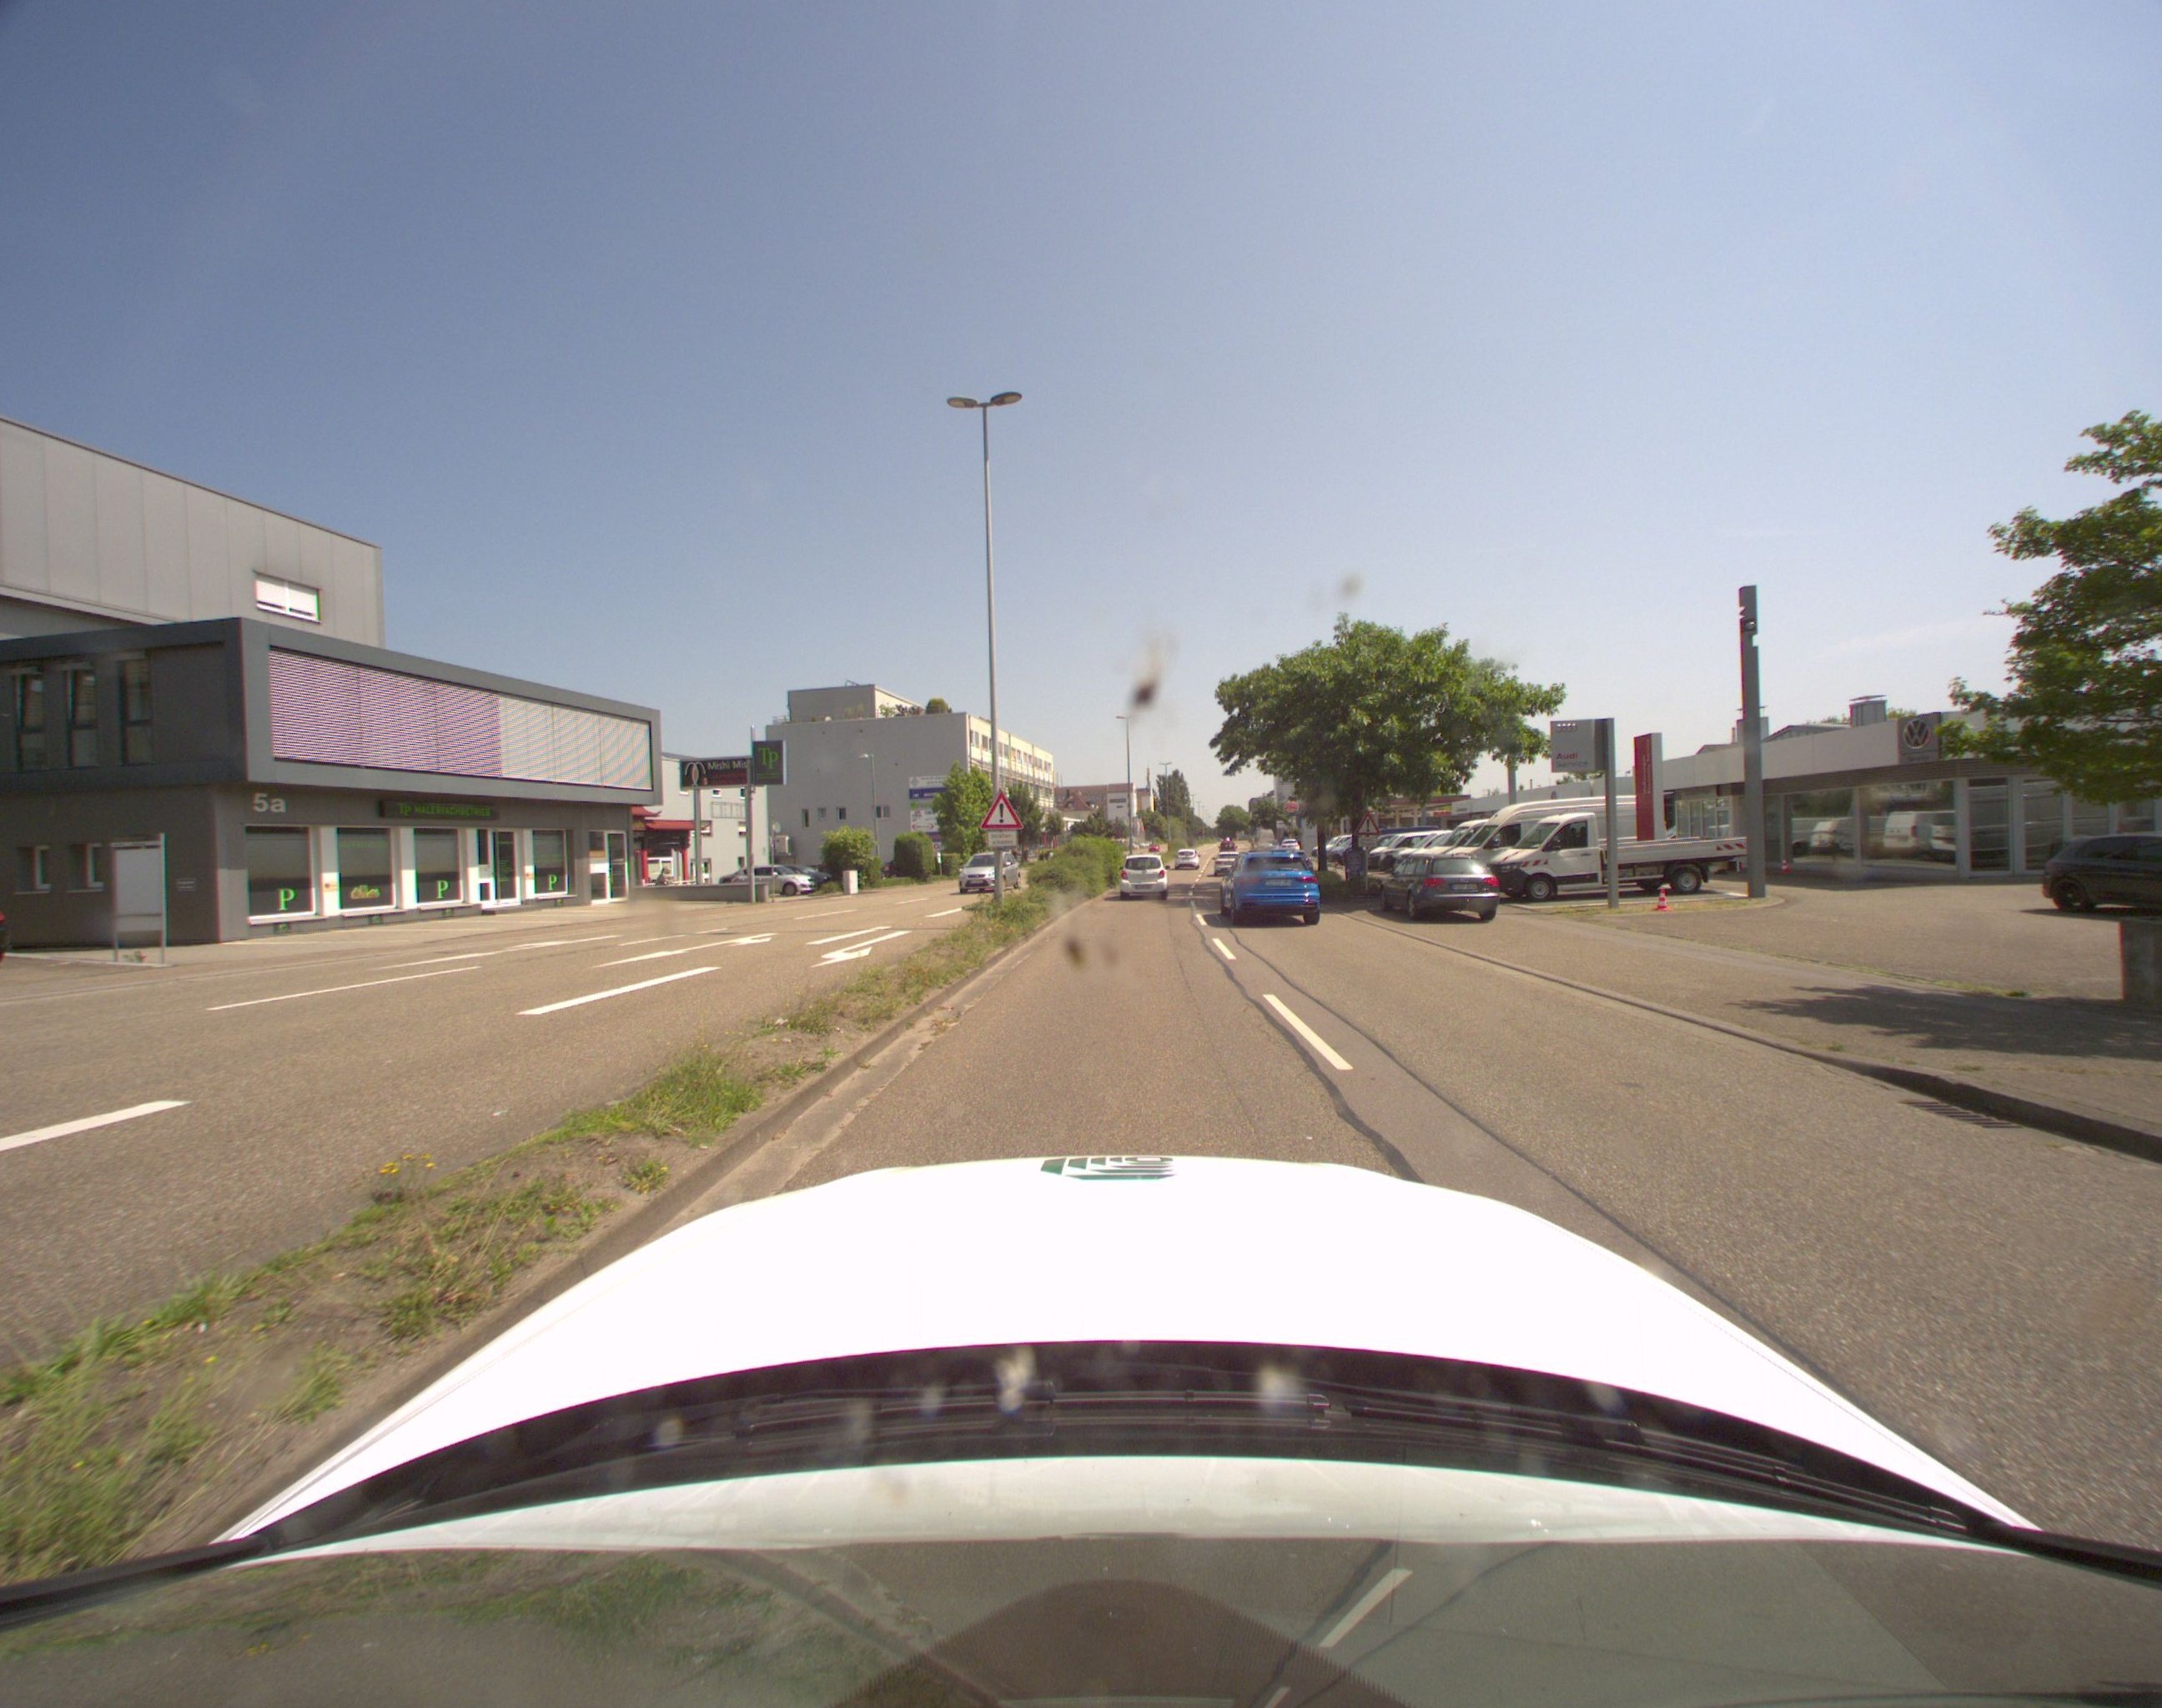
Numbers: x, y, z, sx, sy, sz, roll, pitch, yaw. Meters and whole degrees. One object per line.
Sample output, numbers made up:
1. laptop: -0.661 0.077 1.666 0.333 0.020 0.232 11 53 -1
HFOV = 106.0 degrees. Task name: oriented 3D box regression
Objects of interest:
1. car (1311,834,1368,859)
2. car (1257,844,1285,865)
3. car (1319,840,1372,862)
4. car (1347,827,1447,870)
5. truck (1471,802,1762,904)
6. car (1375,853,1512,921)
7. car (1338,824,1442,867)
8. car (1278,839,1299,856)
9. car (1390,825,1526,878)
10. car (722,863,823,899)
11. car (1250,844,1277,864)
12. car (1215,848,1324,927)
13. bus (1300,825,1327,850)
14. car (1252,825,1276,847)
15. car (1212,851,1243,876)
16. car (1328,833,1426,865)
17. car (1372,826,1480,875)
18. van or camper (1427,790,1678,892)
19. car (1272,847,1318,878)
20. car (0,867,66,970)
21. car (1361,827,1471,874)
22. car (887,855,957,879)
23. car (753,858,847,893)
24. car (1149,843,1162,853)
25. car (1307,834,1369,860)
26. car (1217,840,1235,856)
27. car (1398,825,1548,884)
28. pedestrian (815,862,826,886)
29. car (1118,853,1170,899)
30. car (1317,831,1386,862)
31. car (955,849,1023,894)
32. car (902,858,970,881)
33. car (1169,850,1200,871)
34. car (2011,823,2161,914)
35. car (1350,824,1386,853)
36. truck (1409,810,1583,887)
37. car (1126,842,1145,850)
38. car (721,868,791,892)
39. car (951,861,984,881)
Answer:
1. car: 21.072 -0.575 66.549 4.126 1.781 1.886 -3 -2 8
2. car: 15.166 0.041 65.217 1.704 1.548 4.801 -3 0 8
3. car: 19.373 -0.224 59.678 3.603 1.570 1.723 -1 0 15
4. car: 17.870 -0.305 46.259 4.871 2.114 2.134 -4 1 8
5. truck: 14.411 -0.030 22.389 6.206 2.336 2.376 -3 1 10
6. car: 8.265 0.681 18.993 1.787 1.406 4.330 -1 0 8
7. car: 19.338 -0.487 51.227 5.804 2.524 2.212 -1 -1 12
8. car: 21.203 -0.692 83.418 1.657 1.596 4.626 -3 1 10
9. car: 16.176 -0.113 35.199 4.883 1.971 2.148 -3 0 9
10. car: -14.153 1.235 37.449 3.968 1.459 1.577 -2 -1 4
11. car: 15.778 -0.020 70.535 1.724 1.552 4.186 -1 1 5
12. car: 4.214 0.680 18.875 1.903 1.597 4.402 0 0 6
13. bus: 30.978 -2.346 108.765 2.785 3.078 12.332 -1 2 13
14. car: 25.764 -2.493 114.805 2.122 2.839 7.322 -7 0 6
15. car: 8.636 0.535 48.139 1.657 1.399 3.803 -1 -1 9
16. car: 19.563 -0.303 54.161 5.855 2.013 2.266 -1 0 11
17. car: 17.151 -0.175 40.774 4.481 2.013 2.204 -5 -1 10
18. van or camper: 15.302 -0.396 26.863 6.757 2.897 2.281 -3 0 8
19. car: 10.798 0.391 41.348 1.672 1.435 4.449 -3 0 8
20. car: -18.685 0.953 12.487 4.036 1.521 2.004 2 1 6
21. car: 17.911 -0.197 43.769 5.035 2.097 2.045 -4 0 9
22. car: -10.726 0.881 55.034 4.126 1.342 2.047 -3 0 7
23. car: -13.864 1.060 40.198 3.970 1.371 1.675 -4 1 11
24. car: 12.273 -0.986 133.941 1.620 1.424 3.461 -5 0 11
25. car: 21.107 -0.584 67.017 4.530 1.888 1.861 -3 -1 8
26. car: 15.428 -0.618 86.844 1.785 1.729 3.981 -1 0 8
27. car: 15.550 0.010 32.555 4.920 2.113 2.164 -2 0 8
28. pedestrian: -17.758 1.362 55.532 0.542 1.657 0.626 -1 -1 8
29. car: 2.223 0.756 28.686 1.704 1.511 3.250 -1 -1 4
30. car: 20.598 -0.589 62.202 4.614 2.013 1.965 -4 1 7
31. car: -3.659 0.673 33.147 1.771 1.629 4.347 -3 0 6
32. car: -10.280 1.070 57.822 4.199 1.349 1.985 -3 0 8
33. car: 7.518 0.496 59.383 1.823 1.450 4.001 -1 0 2
34. car: 18.844 0.240 13.679 1.821 1.508 4.326 -1 -1 7
35. car: 28.946 -1.599 82.368 2.242 2.675 7.038 -3 1 10
36. truck: 15.022 -0.188 29.790 5.213 2.436 2.118 -3 0 11
37. car: 12.244 -1.825 183.203 3.960 1.552 1.871 -1 -1 12
38. car: -22.373 1.785 56.183 3.953 1.467 1.966 -2 0 4
39. car: -9.622 1.455 69.418 1.649 1.467 3.808 -4 0 9
